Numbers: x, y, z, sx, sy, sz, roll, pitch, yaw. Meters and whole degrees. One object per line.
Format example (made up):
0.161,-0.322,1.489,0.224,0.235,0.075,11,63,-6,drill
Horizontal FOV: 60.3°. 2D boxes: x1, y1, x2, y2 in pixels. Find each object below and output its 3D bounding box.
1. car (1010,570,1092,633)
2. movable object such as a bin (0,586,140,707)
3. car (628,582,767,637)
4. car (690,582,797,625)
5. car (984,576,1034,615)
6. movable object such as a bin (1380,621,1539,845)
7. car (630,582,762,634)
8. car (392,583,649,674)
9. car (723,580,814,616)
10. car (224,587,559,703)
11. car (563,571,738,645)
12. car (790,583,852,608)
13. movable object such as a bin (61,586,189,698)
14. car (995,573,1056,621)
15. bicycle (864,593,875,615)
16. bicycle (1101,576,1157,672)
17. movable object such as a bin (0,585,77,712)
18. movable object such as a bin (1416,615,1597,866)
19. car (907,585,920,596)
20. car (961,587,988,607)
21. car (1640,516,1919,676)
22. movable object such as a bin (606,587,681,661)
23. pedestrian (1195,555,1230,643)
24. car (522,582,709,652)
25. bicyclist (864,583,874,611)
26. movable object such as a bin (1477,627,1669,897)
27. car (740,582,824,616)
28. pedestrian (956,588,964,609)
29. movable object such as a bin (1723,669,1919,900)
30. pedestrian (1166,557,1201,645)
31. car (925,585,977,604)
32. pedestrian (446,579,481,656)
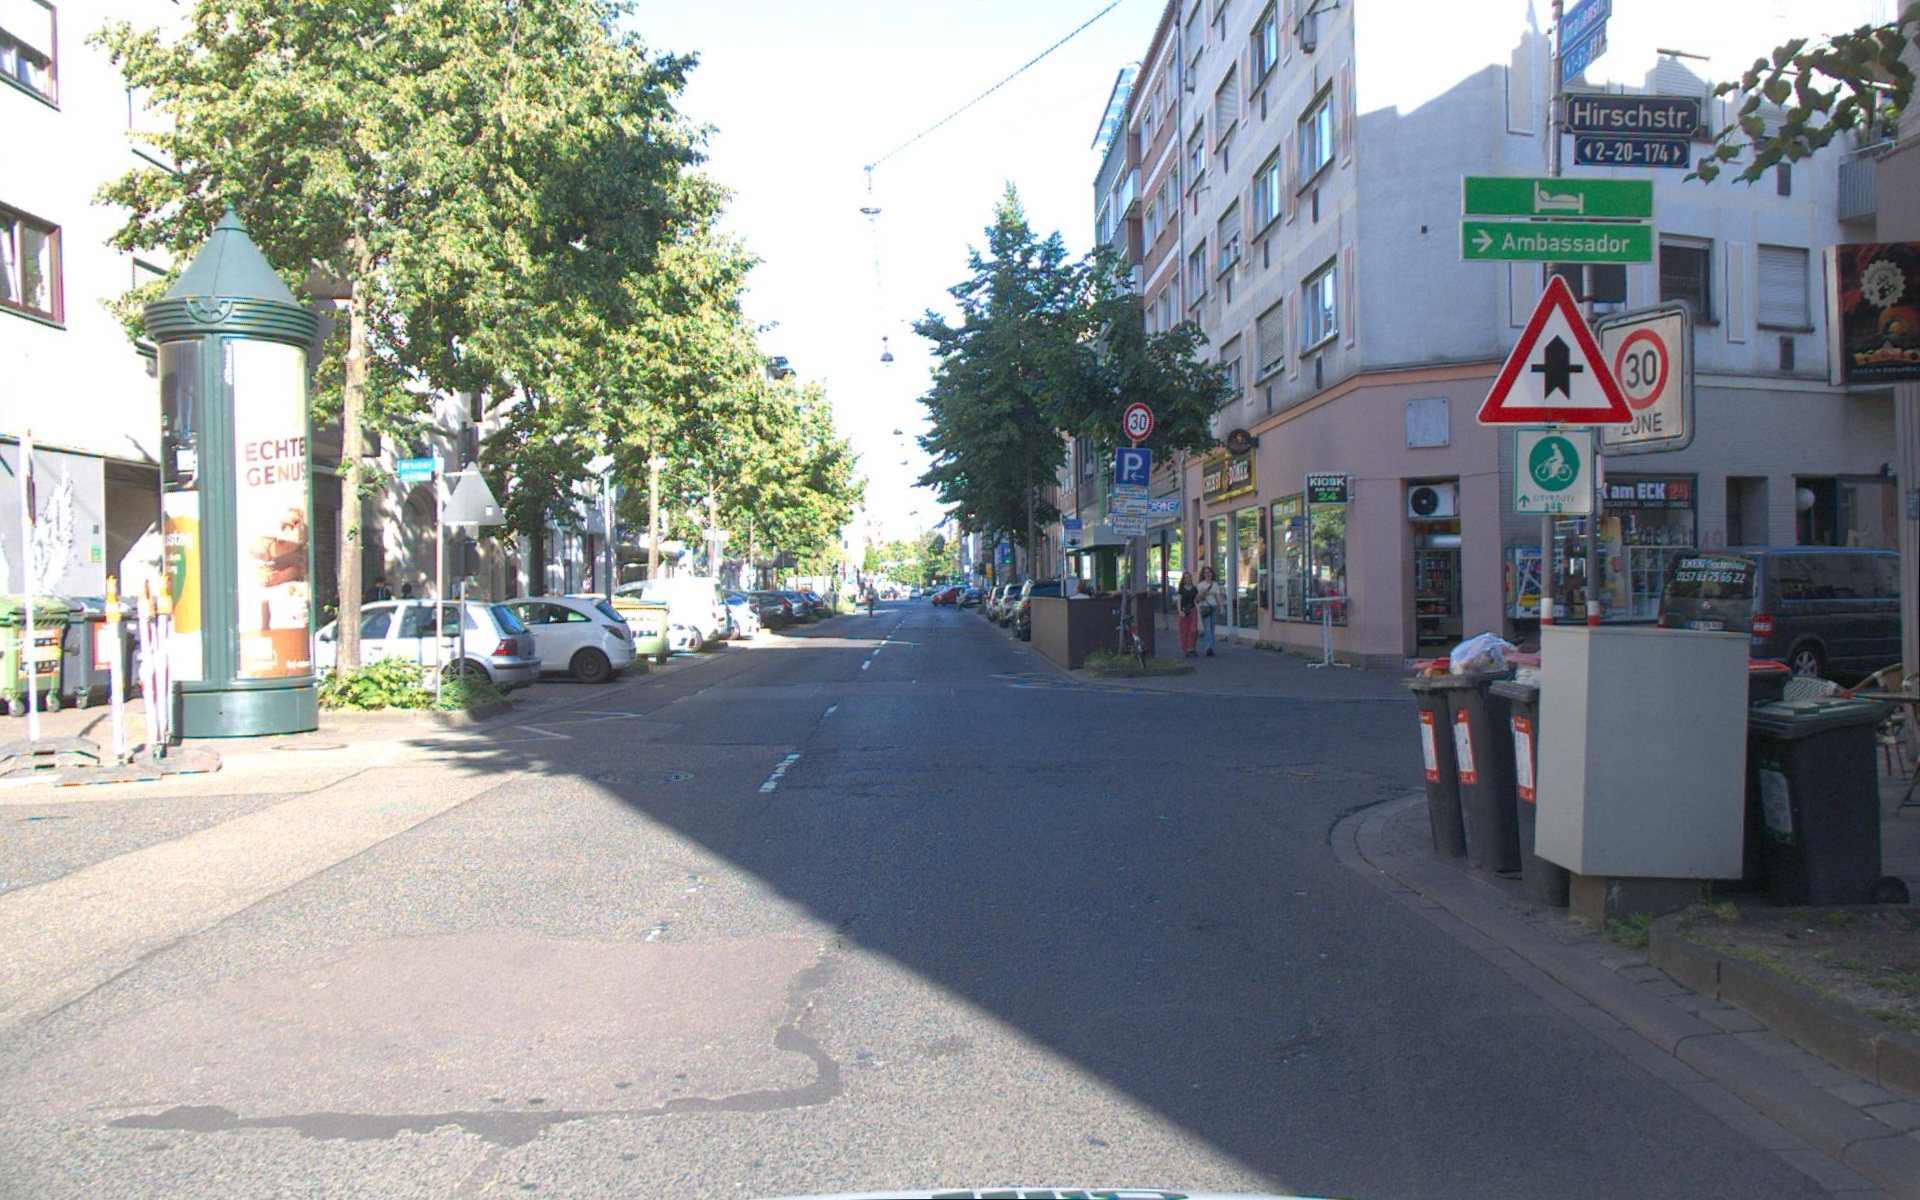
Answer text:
2.516,0.009,46.647,1.953,1.637,3.999,-1,1,-1,car
-11.686,0.591,21.763,1.148,1.511,1.314,-1,0,-3,movable object such as a bin
-7.938,0.262,50.341,3.907,1.526,1.999,-1,1,-2,car
-8.373,0.131,64.283,3.907,1.526,1.999,-1,1,-2,car
2.120,-0.210,72.652,1.953,1.637,3.999,-1,1,-1,car
2.858,0.738,9.516,0.646,1.200,0.739,-1,1,-3,movable object such as a bin
-8.379,0.256,52.837,3.907,1.526,1.999,-1,-1,-2,car
-7.522,0.461,28.620,3.907,1.414,1.999,-1,1,-2,car
-8.675,-0.092,75.047,3.907,1.526,1.999,-1,1,-2,car
-7.736,0.579,22.828,3.907,1.414,1.999,-1,1,-2,car
-7.728,0.178,41.528,3.903,1.724,2.001,-1,1,3,car
-9.173,-0.330,109.234,3.907,1.526,1.999,-1,1,-2,car
-11.780,0.574,23.390,1.148,1.511,1.314,-1,0,-3,movable object such as a bin
2.334,-0.118,60.018,1.953,1.637,3.999,-1,1,-1,car
-5.044,0.243,92.129,0.549,1.200,1.628,-1,0,-1,bicycle
2.738,0.370,26.986,0.549,1.465,1.628,-7,1,-1,bicycle
-11.729,0.584,20.305,1.117,1.511,1.235,-1,0,-3,movable object such as a bin
2.886,0.717,8.779,0.691,1.244,0.680,-1,1,-3,movable object such as a bin
-6.503,-1.337,229.960,1.756,1.436,3.999,-1,1,-1,car
1.079,-0.236,127.995,1.953,1.534,3.999,-1,0,-2,car
12.006,-0.108,23.347,4.629,2.049,1.981,-2,1,-28,car
-6.732,0.502,35.316,1.307,1.504,1.480,-1,1,-2,movable object such as a bin
4.897,-0.018,32.129,0.536,1.678,0.664,-1,0,-1,pedestrian
-8.019,0.382,38.722,3.903,1.482,1.869,-1,1,3,car
-5.062,-0.171,92.189,0.549,1.575,0.728,-1,0,-1,bicyclist
2.925,0.748,7.942,0.609,1.200,0.711,-1,1,-3,movable object such as a bin
-8.726,-0.069,81.292,3.907,1.526,1.999,-1,1,-2,car
-0.017,-0.136,119.731,0.534,1.498,0.546,-2,0,-3,pedestrian
3.759,0.781,7.203,0.551,0.911,0.628,-1,1,-3,movable object such as a bin
4.338,0.015,32.092,0.536,1.678,0.664,-1,0,-1,pedestrian
-0.733,-0.446,135.676,3.955,1.467,1.975,0,0,-36,car
-11.132,0.384,37.078,0.535,1.678,0.664,-1,0,1,pedestrian
